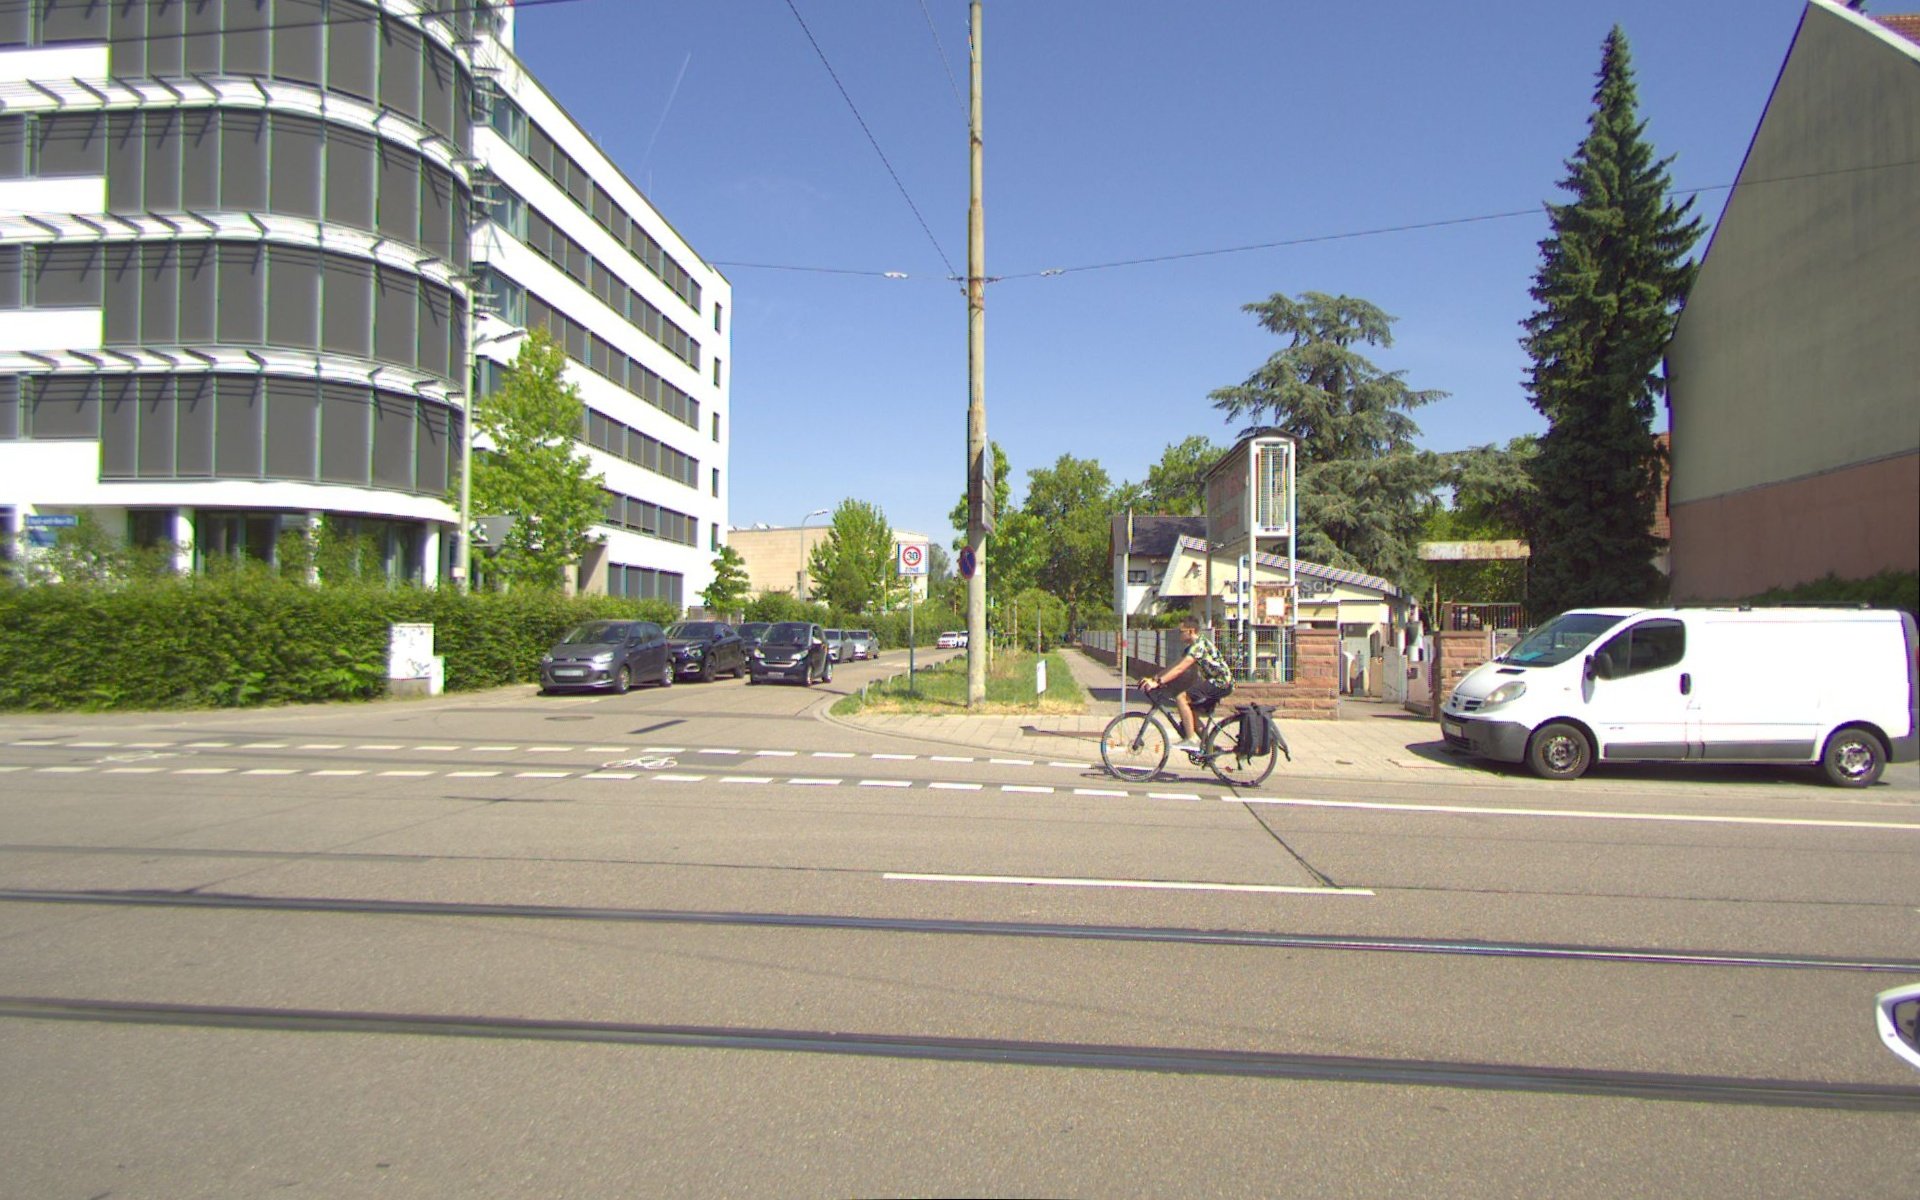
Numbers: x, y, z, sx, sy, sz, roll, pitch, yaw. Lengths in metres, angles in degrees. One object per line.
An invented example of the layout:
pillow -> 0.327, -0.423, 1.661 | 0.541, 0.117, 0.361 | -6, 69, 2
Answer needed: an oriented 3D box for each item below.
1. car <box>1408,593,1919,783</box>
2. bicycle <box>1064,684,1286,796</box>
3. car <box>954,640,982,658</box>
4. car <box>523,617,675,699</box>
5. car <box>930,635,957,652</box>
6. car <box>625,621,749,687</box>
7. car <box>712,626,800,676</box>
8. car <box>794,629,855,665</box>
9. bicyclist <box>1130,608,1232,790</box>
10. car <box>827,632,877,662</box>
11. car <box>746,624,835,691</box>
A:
car -> 8.292, 0.973, 12.177 | 4.808, 2.040, 2.092 | 0, -1, 6
bicycle -> 2.153, 1.384, 10.145 | 2.120, 0.997, 0.611 | 0, -1, 12
car -> 0.709, 4.112, 84.377 | 1.896, 1.468, 3.831 | 0, -2, 7
car -> -7.471, 1.179, 21.153 | 1.671, 1.547, 3.698 | 1, -2, 3
car -> -1.427, 3.805, 88.456 | 1.896, 1.468, 3.831 | 0, -2, 7
car -> -6.841, 1.341, 25.642 | 1.779, 1.539, 4.171 | 0, -2, 3
car -> -6.300, 1.573, 31.485 | 1.748, 1.463, 3.853 | 1, -2, 3
car -> -5.584, 1.933, 41.808 | 1.779, 1.422, 3.830 | 0, -2, 3
bicyclist -> 2.214, 0.963, 10.132 | 0.968, 1.746, 0.719 | 0, -2, 11
car -> -5.136, 2.237, 48.374 | 1.779, 1.340, 3.830 | 1, -2, 3
car -> -4.169, 1.374, 25.057 | 1.449, 1.559, 2.978 | 0, -1, 5
